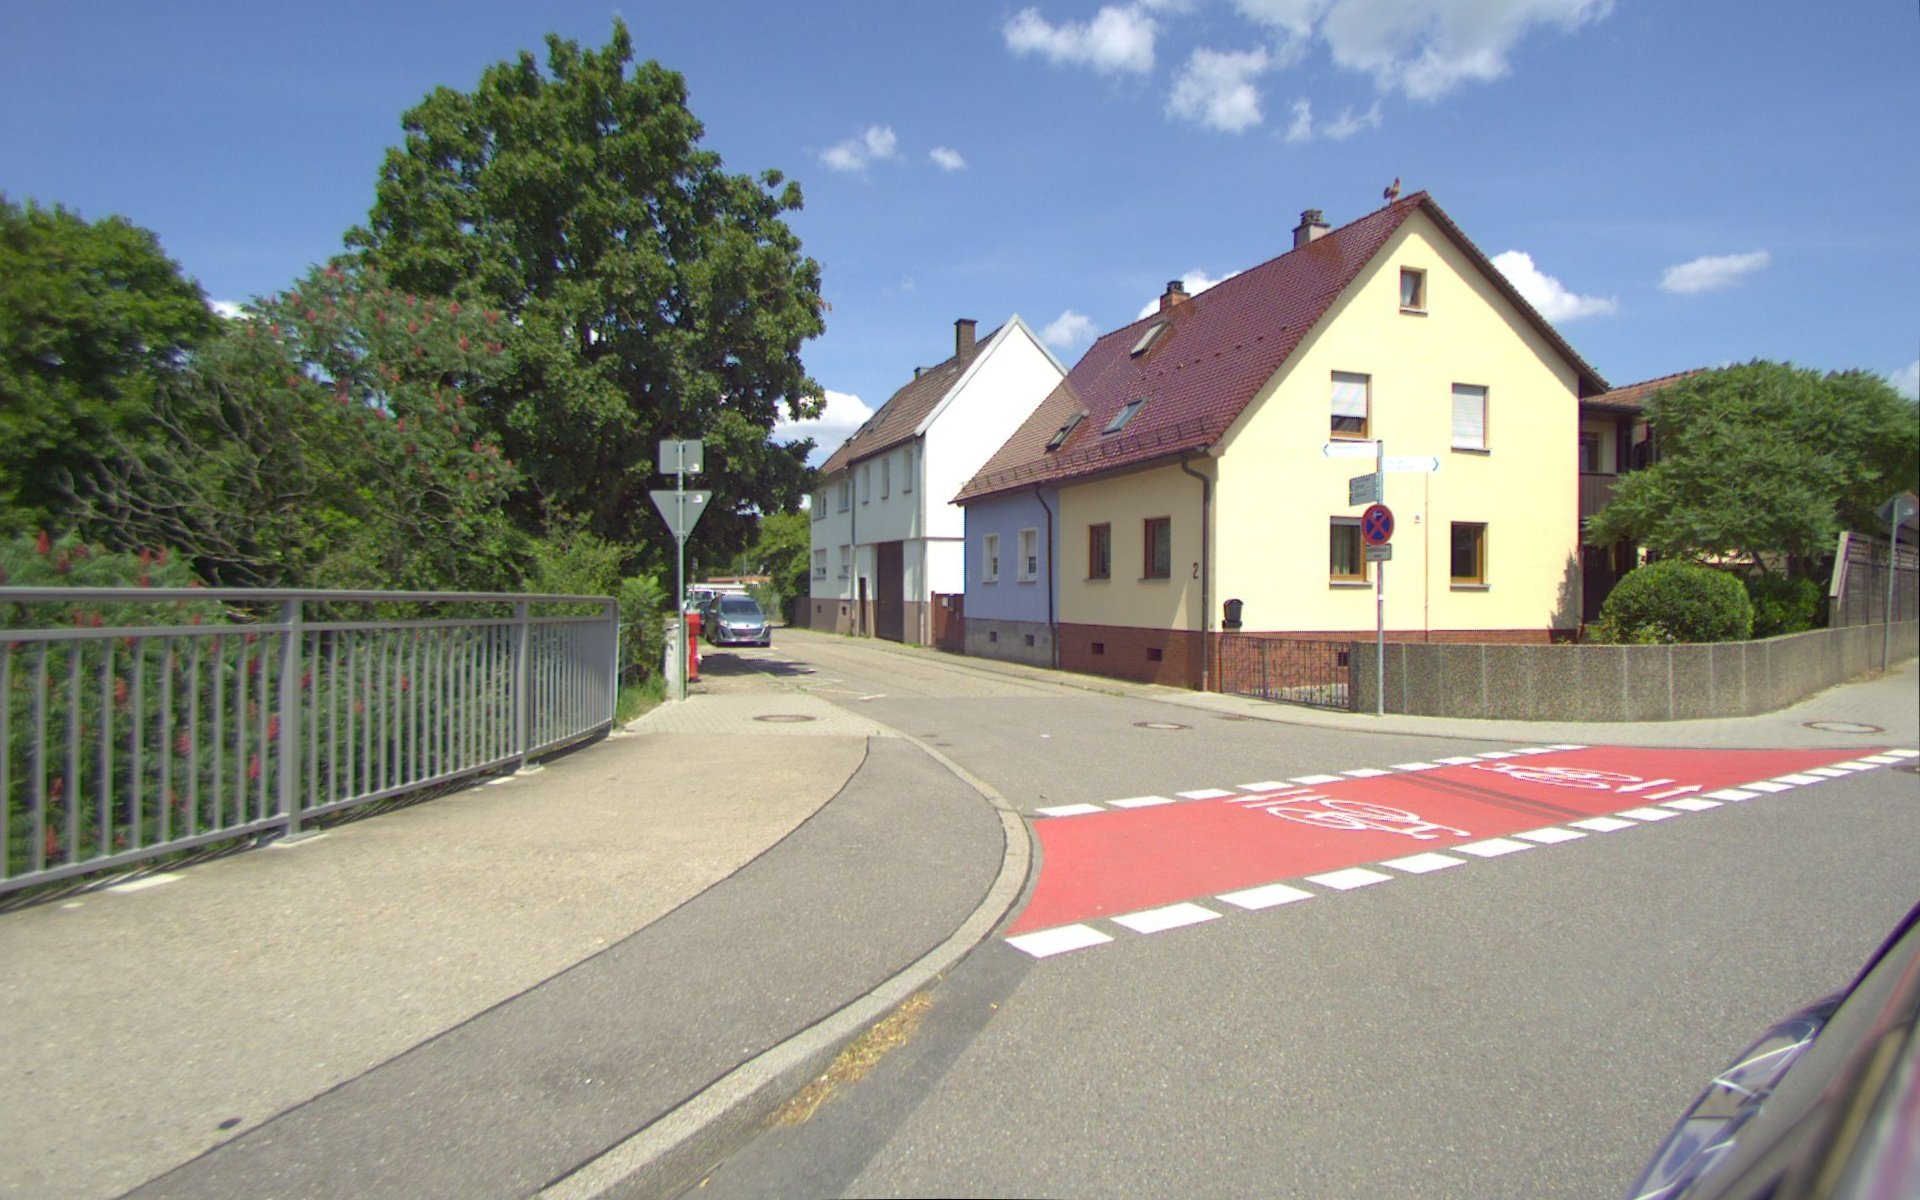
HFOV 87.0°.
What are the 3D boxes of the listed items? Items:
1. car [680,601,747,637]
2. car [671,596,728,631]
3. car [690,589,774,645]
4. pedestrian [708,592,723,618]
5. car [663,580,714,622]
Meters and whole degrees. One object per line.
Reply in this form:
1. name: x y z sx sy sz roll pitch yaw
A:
1. car: -9.481 0.677 38.668 1.787 1.286 4.007 0 0 -24
2. car: -11.555 0.550 44.790 1.787 1.484 4.007 0 0 -24
3. car: -7.510 0.510 33.087 1.788 1.718 4.266 0 0 -25
4. pedestrian: -15.707 0.305 65.078 0.777 1.638 0.690 0 0 -31
5. car: -13.315 0.043 49.526 1.787 1.946 4.007 0 0 -24
